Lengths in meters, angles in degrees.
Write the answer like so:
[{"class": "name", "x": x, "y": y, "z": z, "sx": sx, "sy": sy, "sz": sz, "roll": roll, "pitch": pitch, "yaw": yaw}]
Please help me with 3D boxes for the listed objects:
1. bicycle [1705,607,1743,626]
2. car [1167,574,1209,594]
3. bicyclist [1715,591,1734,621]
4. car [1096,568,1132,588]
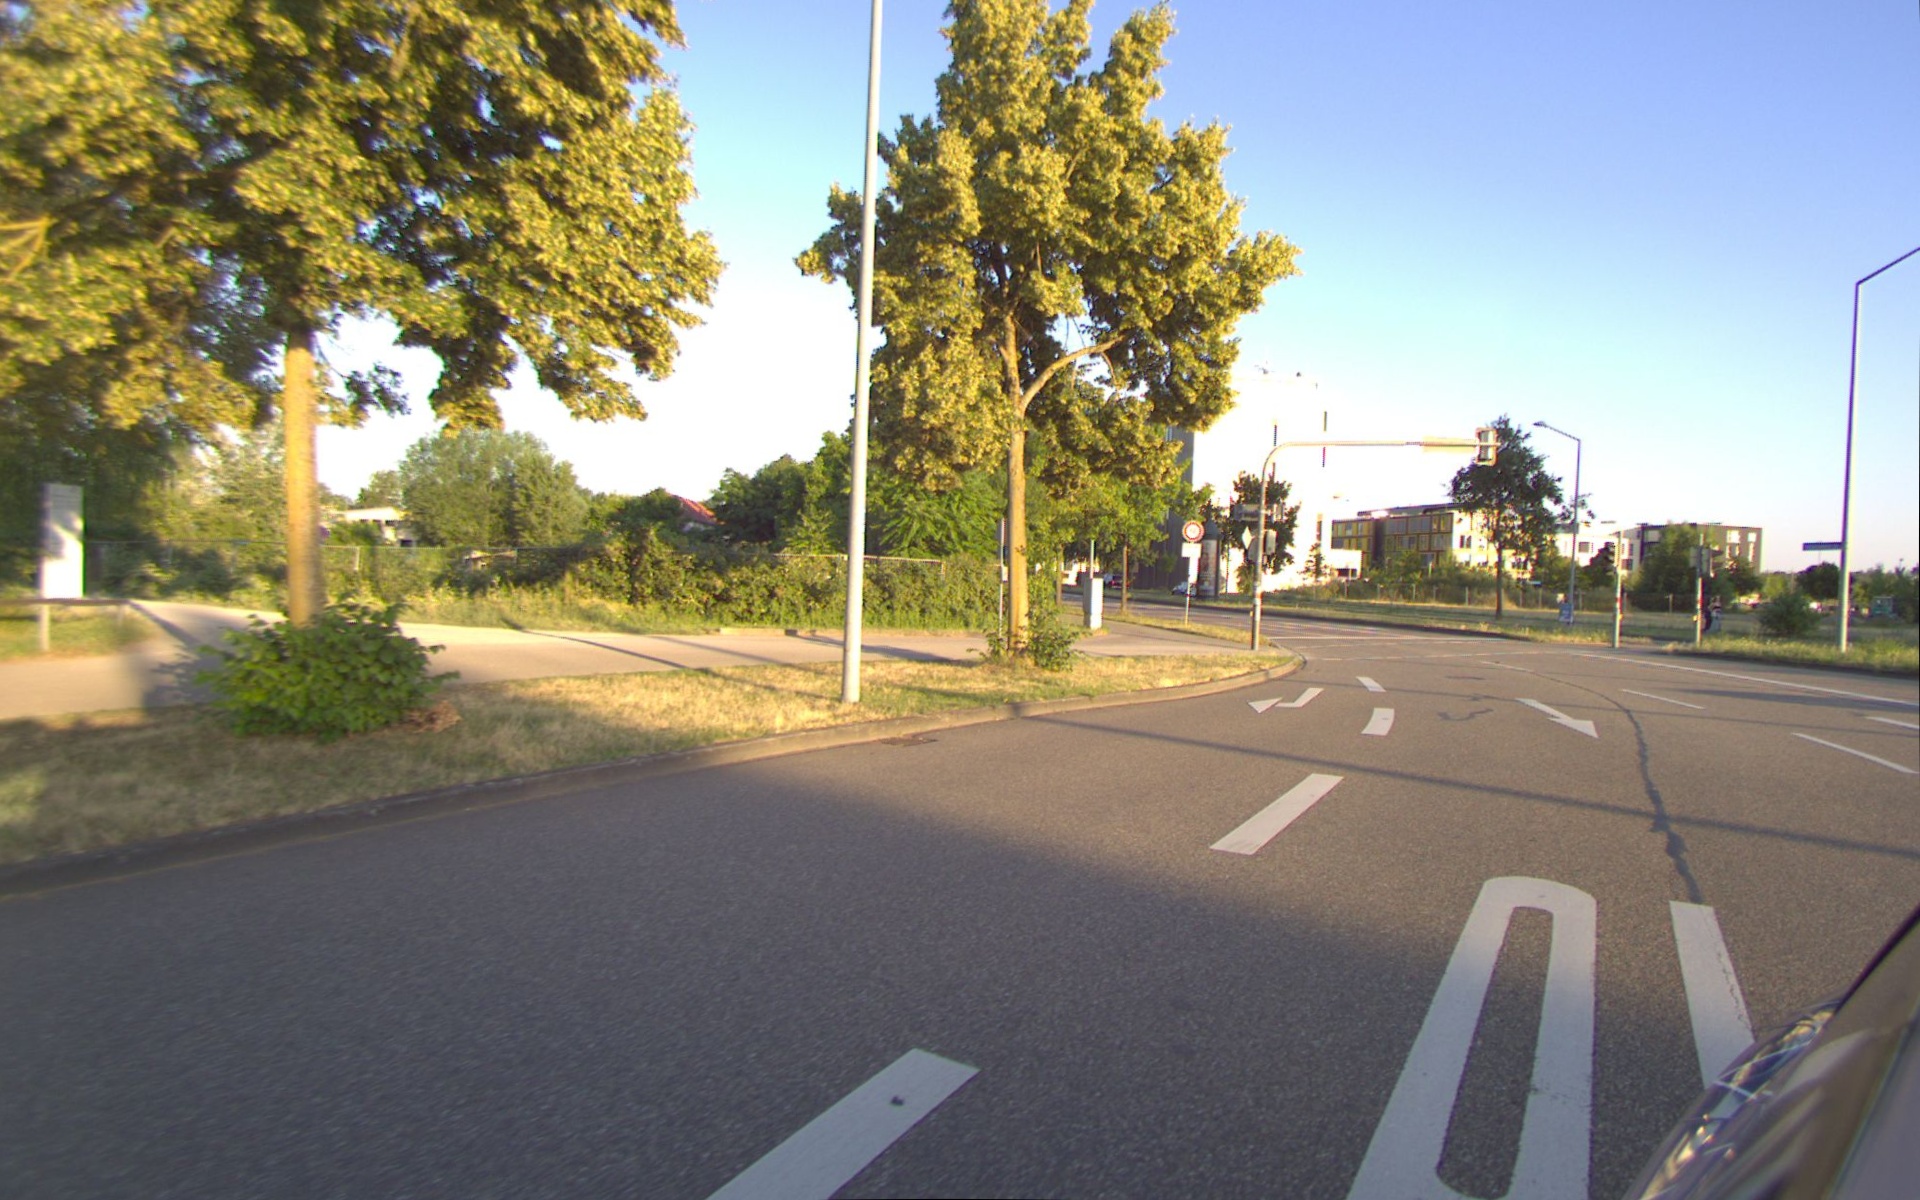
[{"class": "bicycle", "x": 36.448, "y": 0.791, "z": 48.298, "sx": 0.464, "sy": 0.801, "sz": 1.422, "roll": 2, "pitch": 2, "yaw": -16}, {"class": "car", "x": 19.517, "y": -1.366, "z": 86.790, "sx": 1.958, "sy": 1.566, "sz": 4.140, "roll": 2, "pitch": 1, "yaw": -12}, {"class": "bicyclist", "x": 36.464, "y": 0.300, "z": 48.272, "sx": 0.464, "sy": 1.415, "sz": 0.449, "roll": 2, "pitch": 1, "yaw": -16}, {"class": "car", "x": 14.397, "y": -2.117, "z": 94.766, "sx": 1.958, "sy": 1.772, "sz": 4.140, "roll": 2, "pitch": 1, "yaw": -12}]
